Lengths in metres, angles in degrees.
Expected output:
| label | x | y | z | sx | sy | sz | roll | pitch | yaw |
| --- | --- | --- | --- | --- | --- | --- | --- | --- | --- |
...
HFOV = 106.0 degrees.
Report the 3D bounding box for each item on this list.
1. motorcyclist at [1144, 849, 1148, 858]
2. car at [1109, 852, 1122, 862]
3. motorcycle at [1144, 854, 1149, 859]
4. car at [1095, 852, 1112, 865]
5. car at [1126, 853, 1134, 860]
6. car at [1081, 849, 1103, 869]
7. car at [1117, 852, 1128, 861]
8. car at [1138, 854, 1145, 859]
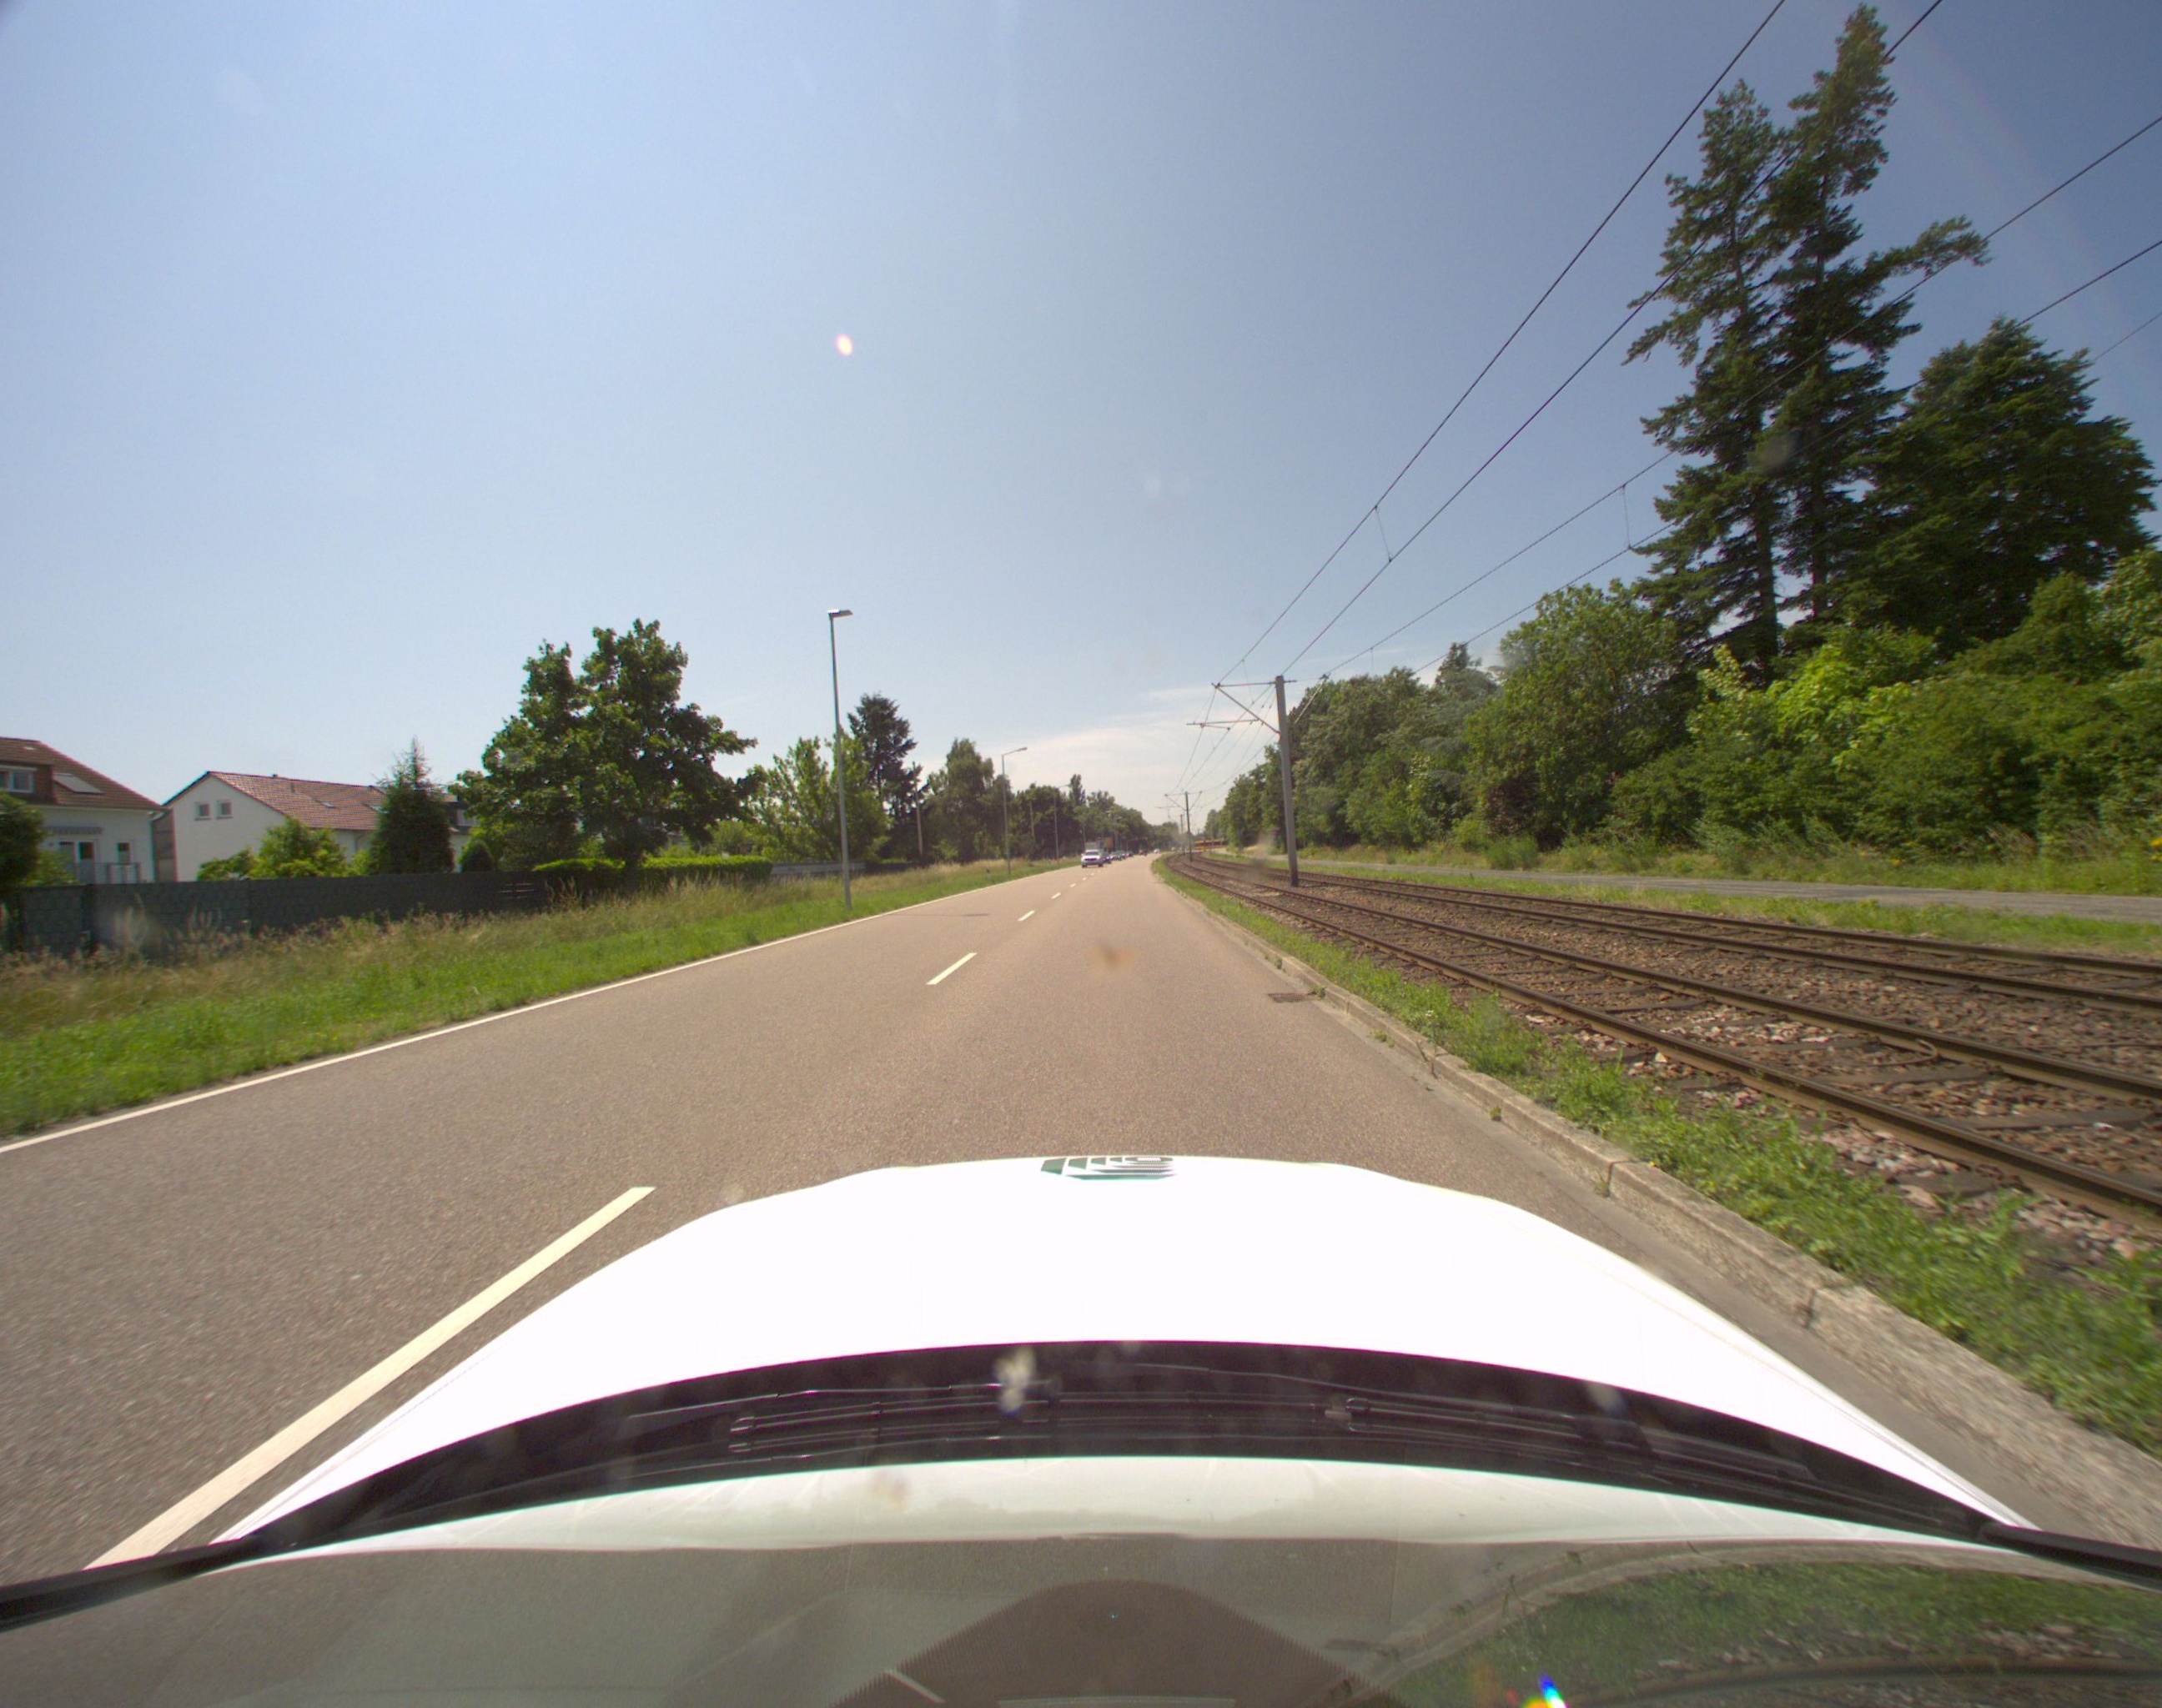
| label | x | y | z | sx | sy | sz | roll | pitch | yaw |
| --- | --- | --- | --- | --- | --- | --- | --- | --- | --- |
| motorcyclist | 14.550 | -0.112 | 182.693 | 0.887 | 1.905 | 1.017 | -3 | -1 | 5 |
| car | 5.415 | 0.446 | 128.108 | 1.809 | 1.493 | 4.368 | -3 | 0 | 4 |
| motorcycle | 14.644 | 0.510 | 182.943 | 0.965 | 1.117 | 2.736 | -3 | 0 | 5 |
| car | 2.750 | 0.514 | 99.265 | 1.809 | 1.528 | 4.368 | -3 | 0 | 4 |
| car | 11.371 | 0.658 | 188.003 | 1.620 | 1.490 | 4.368 | -3 | 0 | 4 |
| car | 1.127 | 0.501 | 82.265 | 1.927 | 1.796 | 4.716 | -3 | 0 | 4 |
| car | 7.337 | 0.501 | 144.462 | 1.809 | 1.538 | 4.368 | -3 | 0 | 4 |
| car | 17.794 | 0.592 | 239.479 | 1.618 | 1.395 | 4.373 | -3 | 0 | 8 |
